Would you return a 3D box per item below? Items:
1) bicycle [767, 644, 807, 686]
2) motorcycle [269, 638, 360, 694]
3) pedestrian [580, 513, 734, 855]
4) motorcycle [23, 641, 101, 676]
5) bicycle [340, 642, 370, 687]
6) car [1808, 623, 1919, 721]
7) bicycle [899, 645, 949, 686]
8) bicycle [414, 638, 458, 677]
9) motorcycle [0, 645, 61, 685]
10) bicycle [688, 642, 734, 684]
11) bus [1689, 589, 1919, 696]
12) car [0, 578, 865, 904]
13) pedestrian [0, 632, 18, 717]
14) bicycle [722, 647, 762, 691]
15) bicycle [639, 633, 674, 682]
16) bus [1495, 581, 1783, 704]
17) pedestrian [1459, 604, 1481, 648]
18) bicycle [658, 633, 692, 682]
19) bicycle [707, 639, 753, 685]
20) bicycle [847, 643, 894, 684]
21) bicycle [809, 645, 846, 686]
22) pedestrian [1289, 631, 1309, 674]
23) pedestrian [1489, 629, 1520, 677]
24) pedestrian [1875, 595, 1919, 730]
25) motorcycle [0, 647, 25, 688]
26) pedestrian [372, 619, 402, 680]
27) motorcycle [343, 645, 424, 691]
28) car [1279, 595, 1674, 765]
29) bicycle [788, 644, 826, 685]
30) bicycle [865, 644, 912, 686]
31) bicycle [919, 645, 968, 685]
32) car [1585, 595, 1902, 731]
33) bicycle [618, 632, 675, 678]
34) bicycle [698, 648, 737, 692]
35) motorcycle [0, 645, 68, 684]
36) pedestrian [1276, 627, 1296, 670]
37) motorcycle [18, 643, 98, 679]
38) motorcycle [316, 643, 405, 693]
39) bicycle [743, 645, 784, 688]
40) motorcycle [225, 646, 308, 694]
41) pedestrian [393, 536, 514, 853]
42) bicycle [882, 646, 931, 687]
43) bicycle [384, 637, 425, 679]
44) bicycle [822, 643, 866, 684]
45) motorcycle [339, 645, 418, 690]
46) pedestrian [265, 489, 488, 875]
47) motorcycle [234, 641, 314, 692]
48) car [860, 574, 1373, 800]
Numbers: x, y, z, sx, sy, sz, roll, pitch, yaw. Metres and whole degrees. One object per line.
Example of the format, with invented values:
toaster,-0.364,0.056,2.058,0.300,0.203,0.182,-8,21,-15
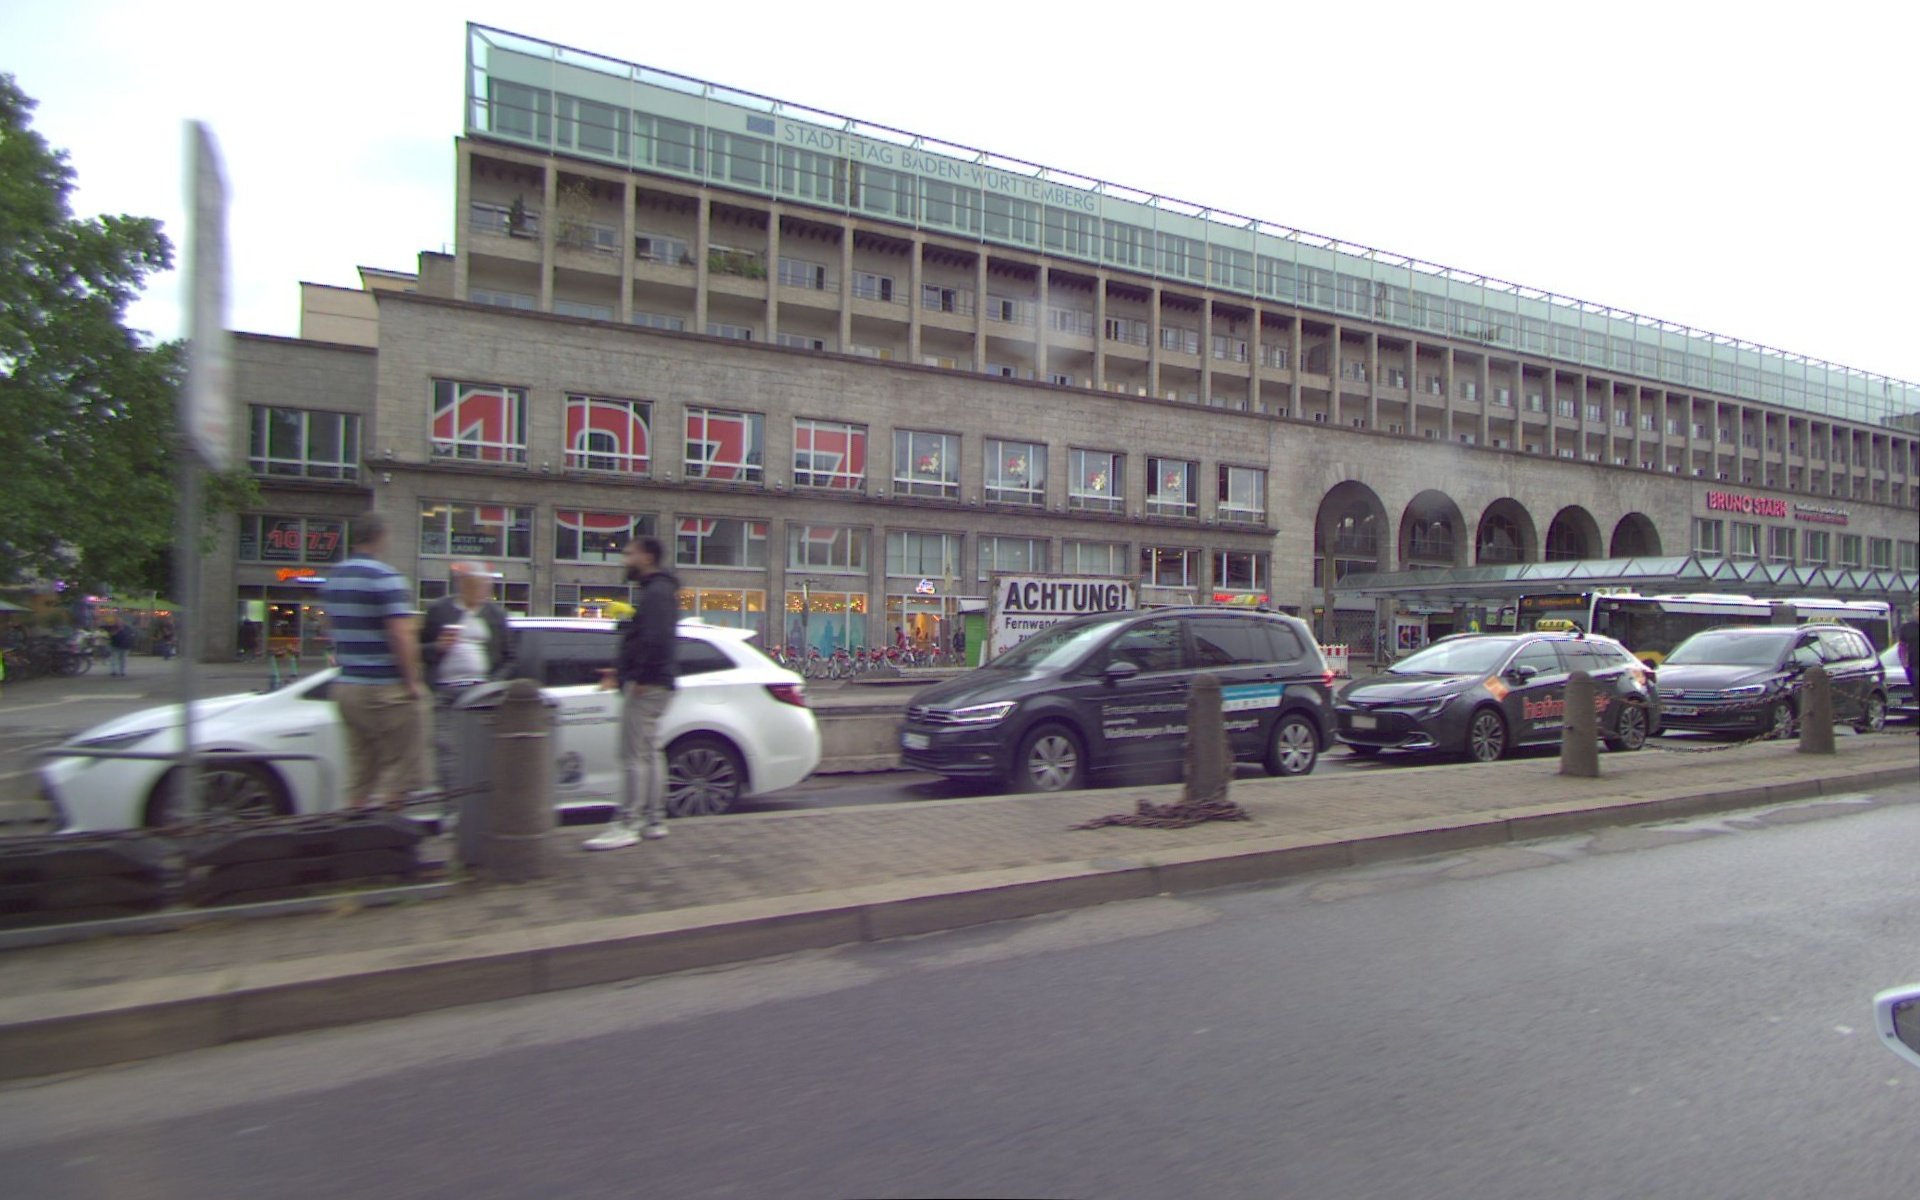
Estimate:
bicycle,-5.867,2.190,34.046,0.673,1.343,1.694,1,-1,-35
motorcycle,-14.381,1.465,22.423,1.600,1.188,0.580,1,0,-22
pedestrian,-1.752,0.468,5.790,0.601,1.798,0.776,2,-4,-38
motorcycle,-27.843,1.798,31.183,1.697,1.060,0.528,2,-1,-30
bicycle,-16.948,1.792,28.138,0.673,1.145,1.476,1,0,-31
car,17.692,1.279,18.070,5.195,1.597,1.923,2,-3,-28
bicycle,-1.308,2.327,35.970,0.673,1.343,2.192,1,-1,-35
bicycle,-15.420,1.677,29.575,0.693,1.071,1.616,1,0,-11
motorcycle,-26.192,1.799,27.923,1.697,1.060,0.528,2,-1,-30
bicycle,-7.200,1.798,28.982,0.590,1.091,2.075,1,0,-34
bus,30.939,1.524,36.450,10.437,3.505,2.867,1,-1,-27
car,-3.252,0.769,7.009,4.780,1.642,2.007,1,-1,-27
pedestrian,-18.281,1.407,18.906,0.469,1.592,0.747,-4,-5,44
bicycle,-7.218,2.264,33.176,0.673,1.343,1.656,1,-1,-35
bicycle,-9.518,1.789,31.478,0.561,1.453,1.473,1,0,-37
bus,21.603,1.333,31.723,10.437,3.421,2.867,1,-1,-27
pedestrian,17.984,0.923,35.415,0.575,1.527,0.624,1,0,34
bicycle,-9.052,1.815,31.863,0.509,1.453,1.473,1,0,-37
bicycle,-6.725,1.781,29.318,0.590,1.196,2.075,1,0,-34
bicycle,-3.100,2.171,34.771,0.586,1.343,2.192,1,-1,-35
bicycle,-4.526,2.213,34.301,0.566,1.343,1.550,1,-1,-35
pedestrian,16.348,2.535,48.466,0.700,2.040,0.573,1,-2,-28
pedestrian,18.888,1.822,34.822,0.731,1.634,0.655,1,-1,-31
pedestrian,12.878,0.833,13.478,0.702,1.778,0.696,1,-1,-27
motorcycle,-25.692,1.762,26.268,1.697,1.060,0.528,2,-1,-30
pedestrian,-19.754,1.700,34.611,0.813,2.040,0.870,1,-1,-33
motorcycle,-13.919,1.632,24.270,1.599,1.072,0.580,1,0,-20
car,6.236,0.918,12.054,4.623,1.712,1.923,2,-3,-28
bicycle,-5.248,2.190,34.368,0.575,1.343,1.694,1,-1,-35
bicycle,-2.516,2.242,35.051,0.556,1.343,2.191,1,-1,-36
bicycle,-0.611,2.339,36.580,0.673,1.343,2.192,1,-1,-35
car,11.479,0.911,14.674,4.623,1.712,1.923,2,-3,-28
bicycle,-10.411,1.811,33.372,1.741,1.453,0.680,1,0,20
bicycle,-7.922,2.276,32.791,0.673,1.343,1.656,1,-1,-35
motorcycle,-26.465,1.820,28.458,1.697,1.060,0.528,2,-1,-30
pedestrian,15.720,2.334,48.451,0.700,2.040,0.573,1,-2,-28
motorcycle,-27.421,1.853,30.560,1.697,1.060,0.528,2,-1,-30
motorcycle,-13.234,1.498,22.208,1.600,1.060,0.475,1,0,-22
bicycle,-6.577,2.216,33.611,0.673,1.343,1.717,1,-1,-35
motorcycle,-16.280,1.636,23.583,1.591,1.057,0.583,1,0,6
pedestrian,-2.985,0.517,5.920,0.585,1.734,0.648,1,0,-28
bicycle,-1.906,2.315,35.513,0.673,1.343,2.192,1,-1,-35
bicycle,-16.192,1.685,29.292,0.669,1.145,1.485,1,0,-14
bicycle,-4.039,2.191,34.855,0.673,1.343,1.914,1,-1,-35
motorcycle,-14.485,1.665,25.052,1.599,1.072,0.580,1,0,-20
pedestrian,-2.880,0.399,5.015,0.737,1.798,0.560,-1,-3,7
motorcycle,-16.603,1.606,24.318,1.591,1.149,0.583,1,0,6
car,1.549,0.771,9.584,4.623,1.712,1.923,2,-3,-28
